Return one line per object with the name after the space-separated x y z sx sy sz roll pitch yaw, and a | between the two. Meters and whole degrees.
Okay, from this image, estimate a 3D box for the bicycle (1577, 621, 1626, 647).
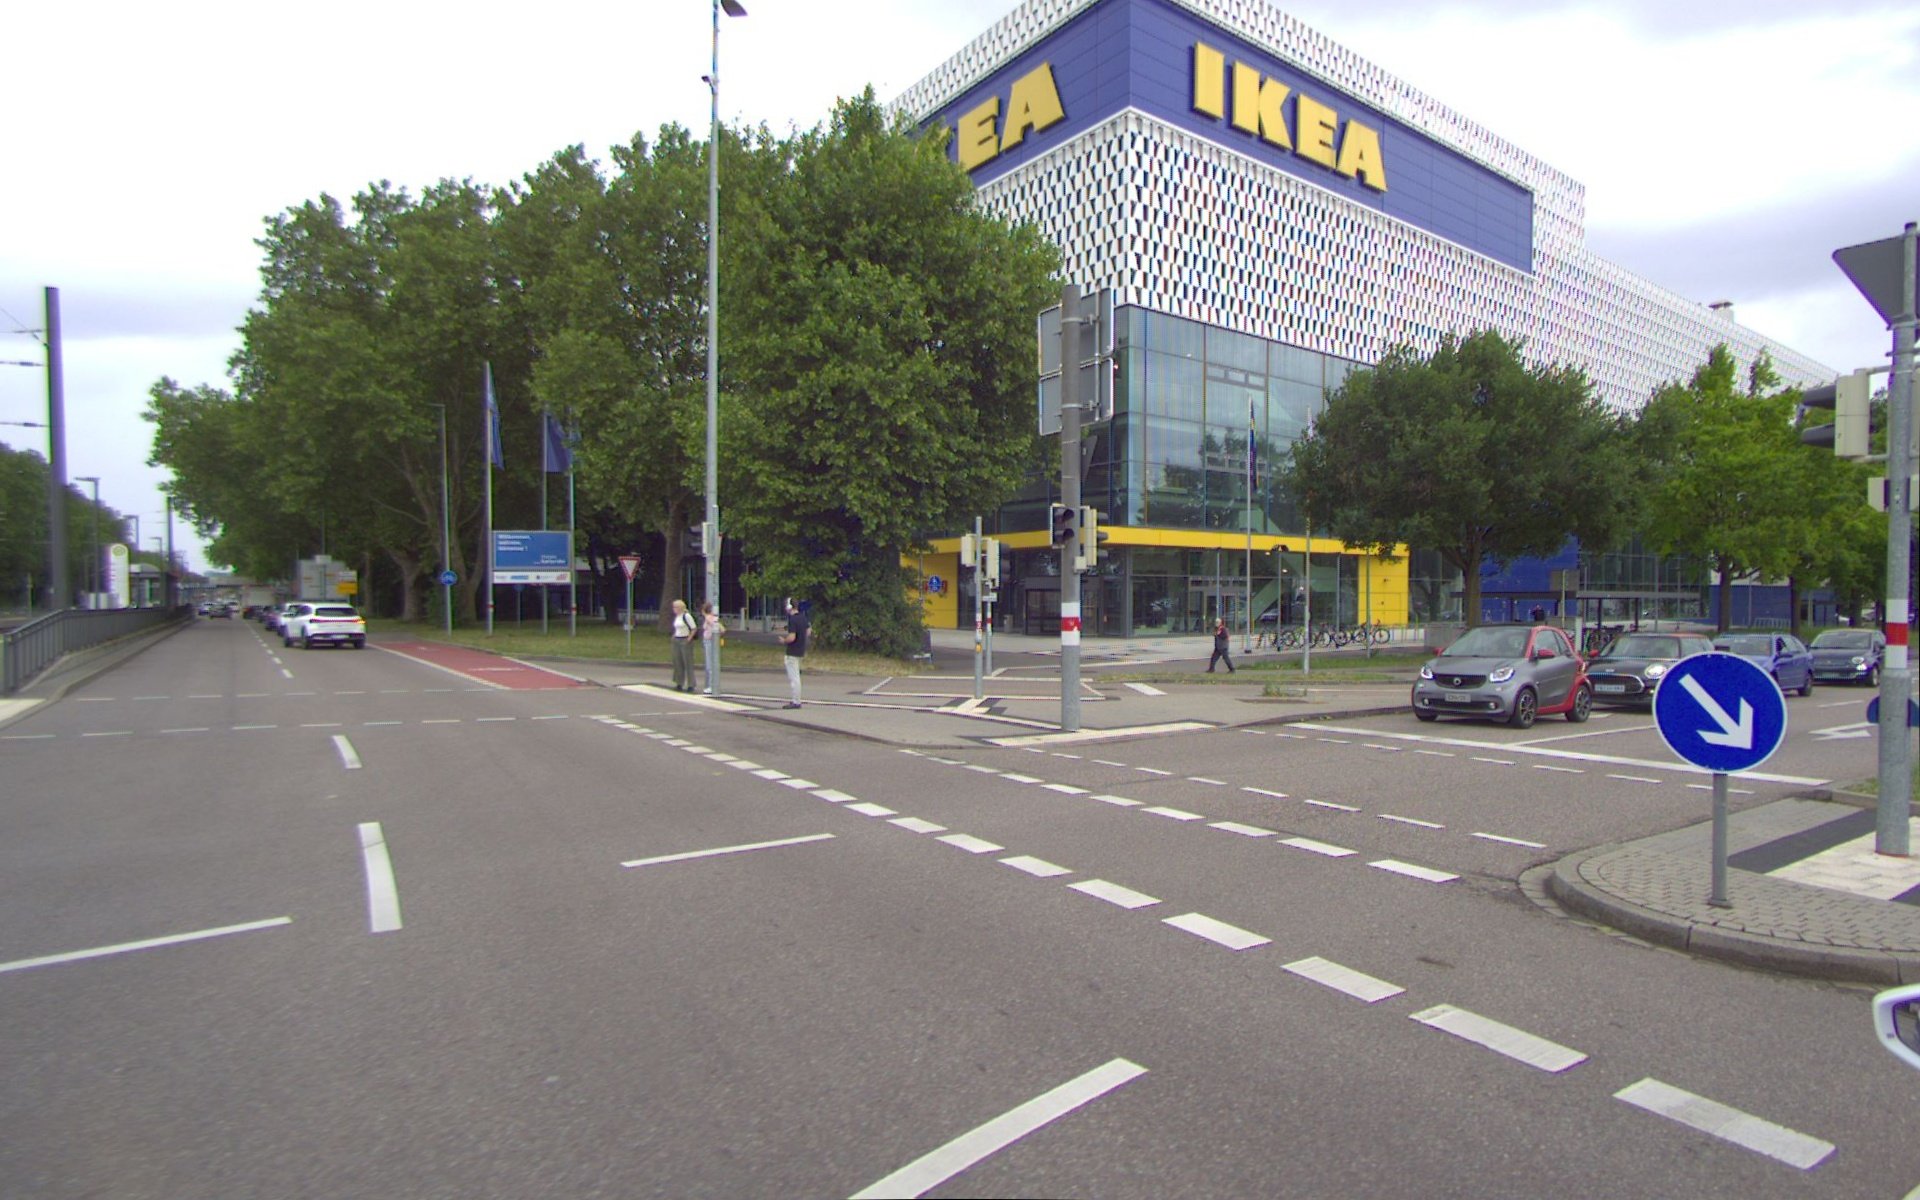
30.328 1.597 47.509 0.587 1.097 1.798 0 2 -34 | bicycle

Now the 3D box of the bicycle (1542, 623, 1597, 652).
27.377 1.664 45.141 0.587 1.172 2.003 0 2 -34 | bicycle

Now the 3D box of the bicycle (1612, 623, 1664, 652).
31.291 1.723 46.384 0.584 1.172 2.013 1 2 -19 | bicycle

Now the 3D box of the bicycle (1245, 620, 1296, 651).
13.273 1.498 42.939 1.991 1.172 0.591 3 2 40 | bicycle

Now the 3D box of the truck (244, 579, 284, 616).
-74.528 -0.257 107.424 3.231 3.711 9.795 2 -1 -36 | truck

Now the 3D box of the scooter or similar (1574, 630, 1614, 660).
25.637 1.814 40.612 1.323 1.164 0.424 2 2 -3 | scooter or similar

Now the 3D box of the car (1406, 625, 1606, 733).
8.648 1.178 15.862 3.179 1.522 1.591 2 -2 -36 | car

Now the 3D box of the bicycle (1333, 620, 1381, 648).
18.392 1.577 46.554 1.993 1.172 0.590 3 3 43 | bicycle

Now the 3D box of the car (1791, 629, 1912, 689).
24.236 1.541 27.262 3.997 1.517 1.592 1 -2 -35 | car

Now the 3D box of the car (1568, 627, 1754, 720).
13.184 1.290 18.814 4.026 1.523 1.650 1 -1 -36 | car

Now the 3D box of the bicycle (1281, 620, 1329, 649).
15.246 1.514 44.435 0.588 1.172 2.002 0 2 -35 | bicycle

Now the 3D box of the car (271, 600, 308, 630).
-39.094 0.869 58.523 1.618 1.537 3.387 3 -1 -36 | car

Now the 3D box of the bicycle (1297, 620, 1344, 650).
16.146 1.554 45.057 0.588 1.172 2.002 0 2 -35 | bicycle

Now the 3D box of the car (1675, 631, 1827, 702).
17.888 1.432 22.660 4.102 1.463 1.592 1 -2 -35 | car

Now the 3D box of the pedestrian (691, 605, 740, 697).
-4.758 0.975 19.538 0.757 1.734 0.670 1 0 -31 | pedestrian

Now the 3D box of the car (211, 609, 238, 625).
-71.294 1.649 97.336 1.815 1.504 3.385 1 0 -32 | car

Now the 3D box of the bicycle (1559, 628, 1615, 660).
26.420 1.850 42.356 0.587 1.172 1.882 0 2 -34 | bicycle

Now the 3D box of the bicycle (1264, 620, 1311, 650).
14.294 1.506 43.891 0.588 1.172 2.002 0 2 -35 | bicycle

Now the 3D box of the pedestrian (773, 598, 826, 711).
-2.643 0.899 16.531 0.677 1.787 0.662 4 -4 -19 | pedestrian

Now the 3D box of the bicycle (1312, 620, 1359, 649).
17.085 1.538 45.699 0.588 1.172 2.002 0 2 -35 | bicycle

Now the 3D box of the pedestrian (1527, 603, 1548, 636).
32.011 1.079 55.667 0.800 1.769 0.673 0 2 -35 | pedestrian

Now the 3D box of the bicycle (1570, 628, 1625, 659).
27.277 1.858 42.998 0.587 1.172 1.882 0 2 -34 | bicycle

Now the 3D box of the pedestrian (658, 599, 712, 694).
-5.445 0.902 19.889 0.761 1.821 0.667 2 0 -44 | pedestrian

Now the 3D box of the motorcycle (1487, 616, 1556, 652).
24.285 1.445 43.493 2.465 1.374 0.795 4 3 44 | motorcycle

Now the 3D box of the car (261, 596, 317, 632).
-32.785 0.657 49.028 1.783 1.606 4.094 3 -1 -40 | car

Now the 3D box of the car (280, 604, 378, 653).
-22.667 0.970 36.022 4.347 1.607 1.883 1 0 42 | car

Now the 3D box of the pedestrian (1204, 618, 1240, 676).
7.789 1.391 29.844 0.802 1.664 0.628 2 0 -37 | pedestrian
